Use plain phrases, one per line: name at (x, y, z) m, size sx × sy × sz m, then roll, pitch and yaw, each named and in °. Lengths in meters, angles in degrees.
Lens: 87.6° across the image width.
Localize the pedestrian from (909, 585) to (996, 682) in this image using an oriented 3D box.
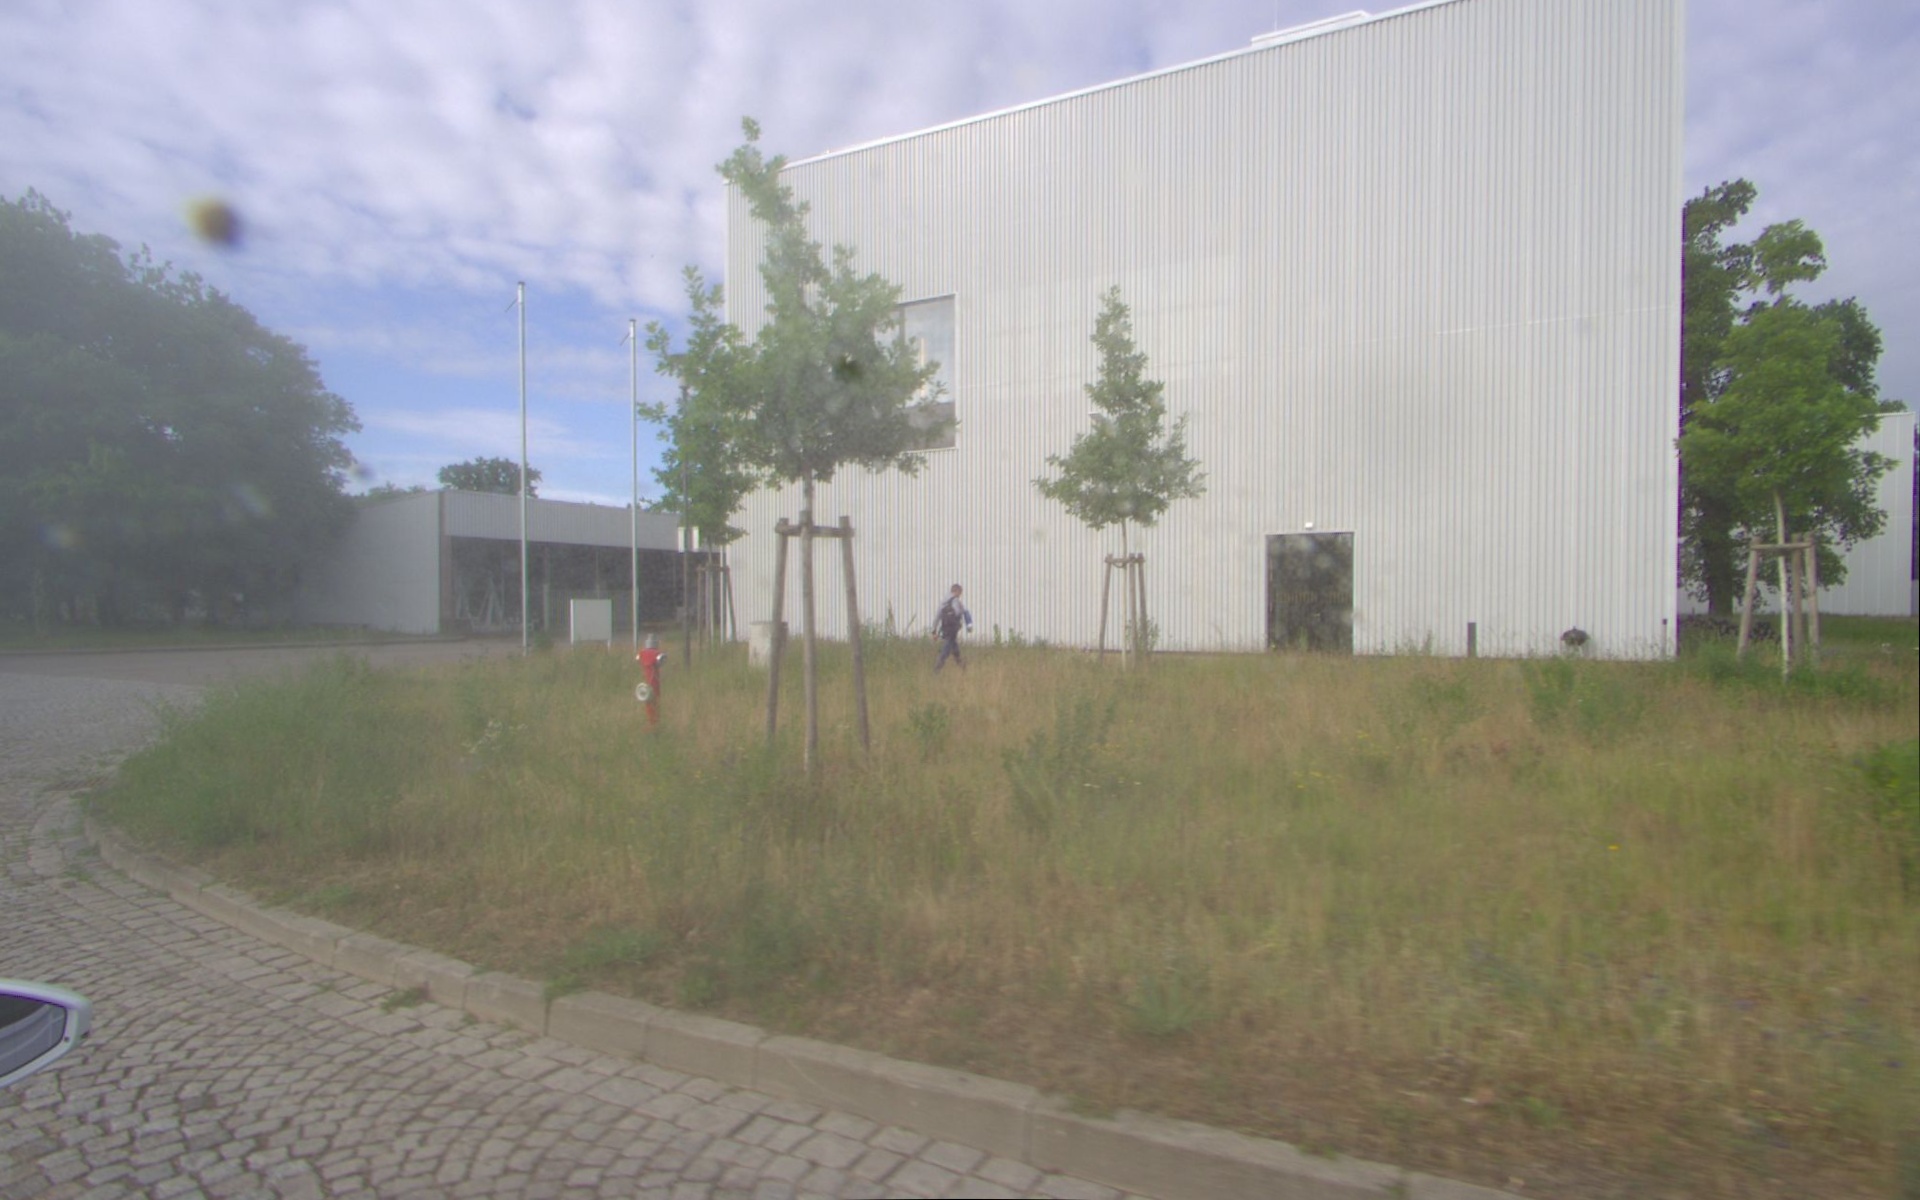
pedestrian at (-0.128, 0.548, 17.020) m, size 1.066 × 1.577 × 1.066 m, roll -1°, pitch 1°, yaw -38°

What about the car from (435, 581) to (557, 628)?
car at (-21.066, 0.194, 45.417) m, size 5.252 × 2.040 × 2.240 m, roll 0°, pitch 1°, yaw 27°
